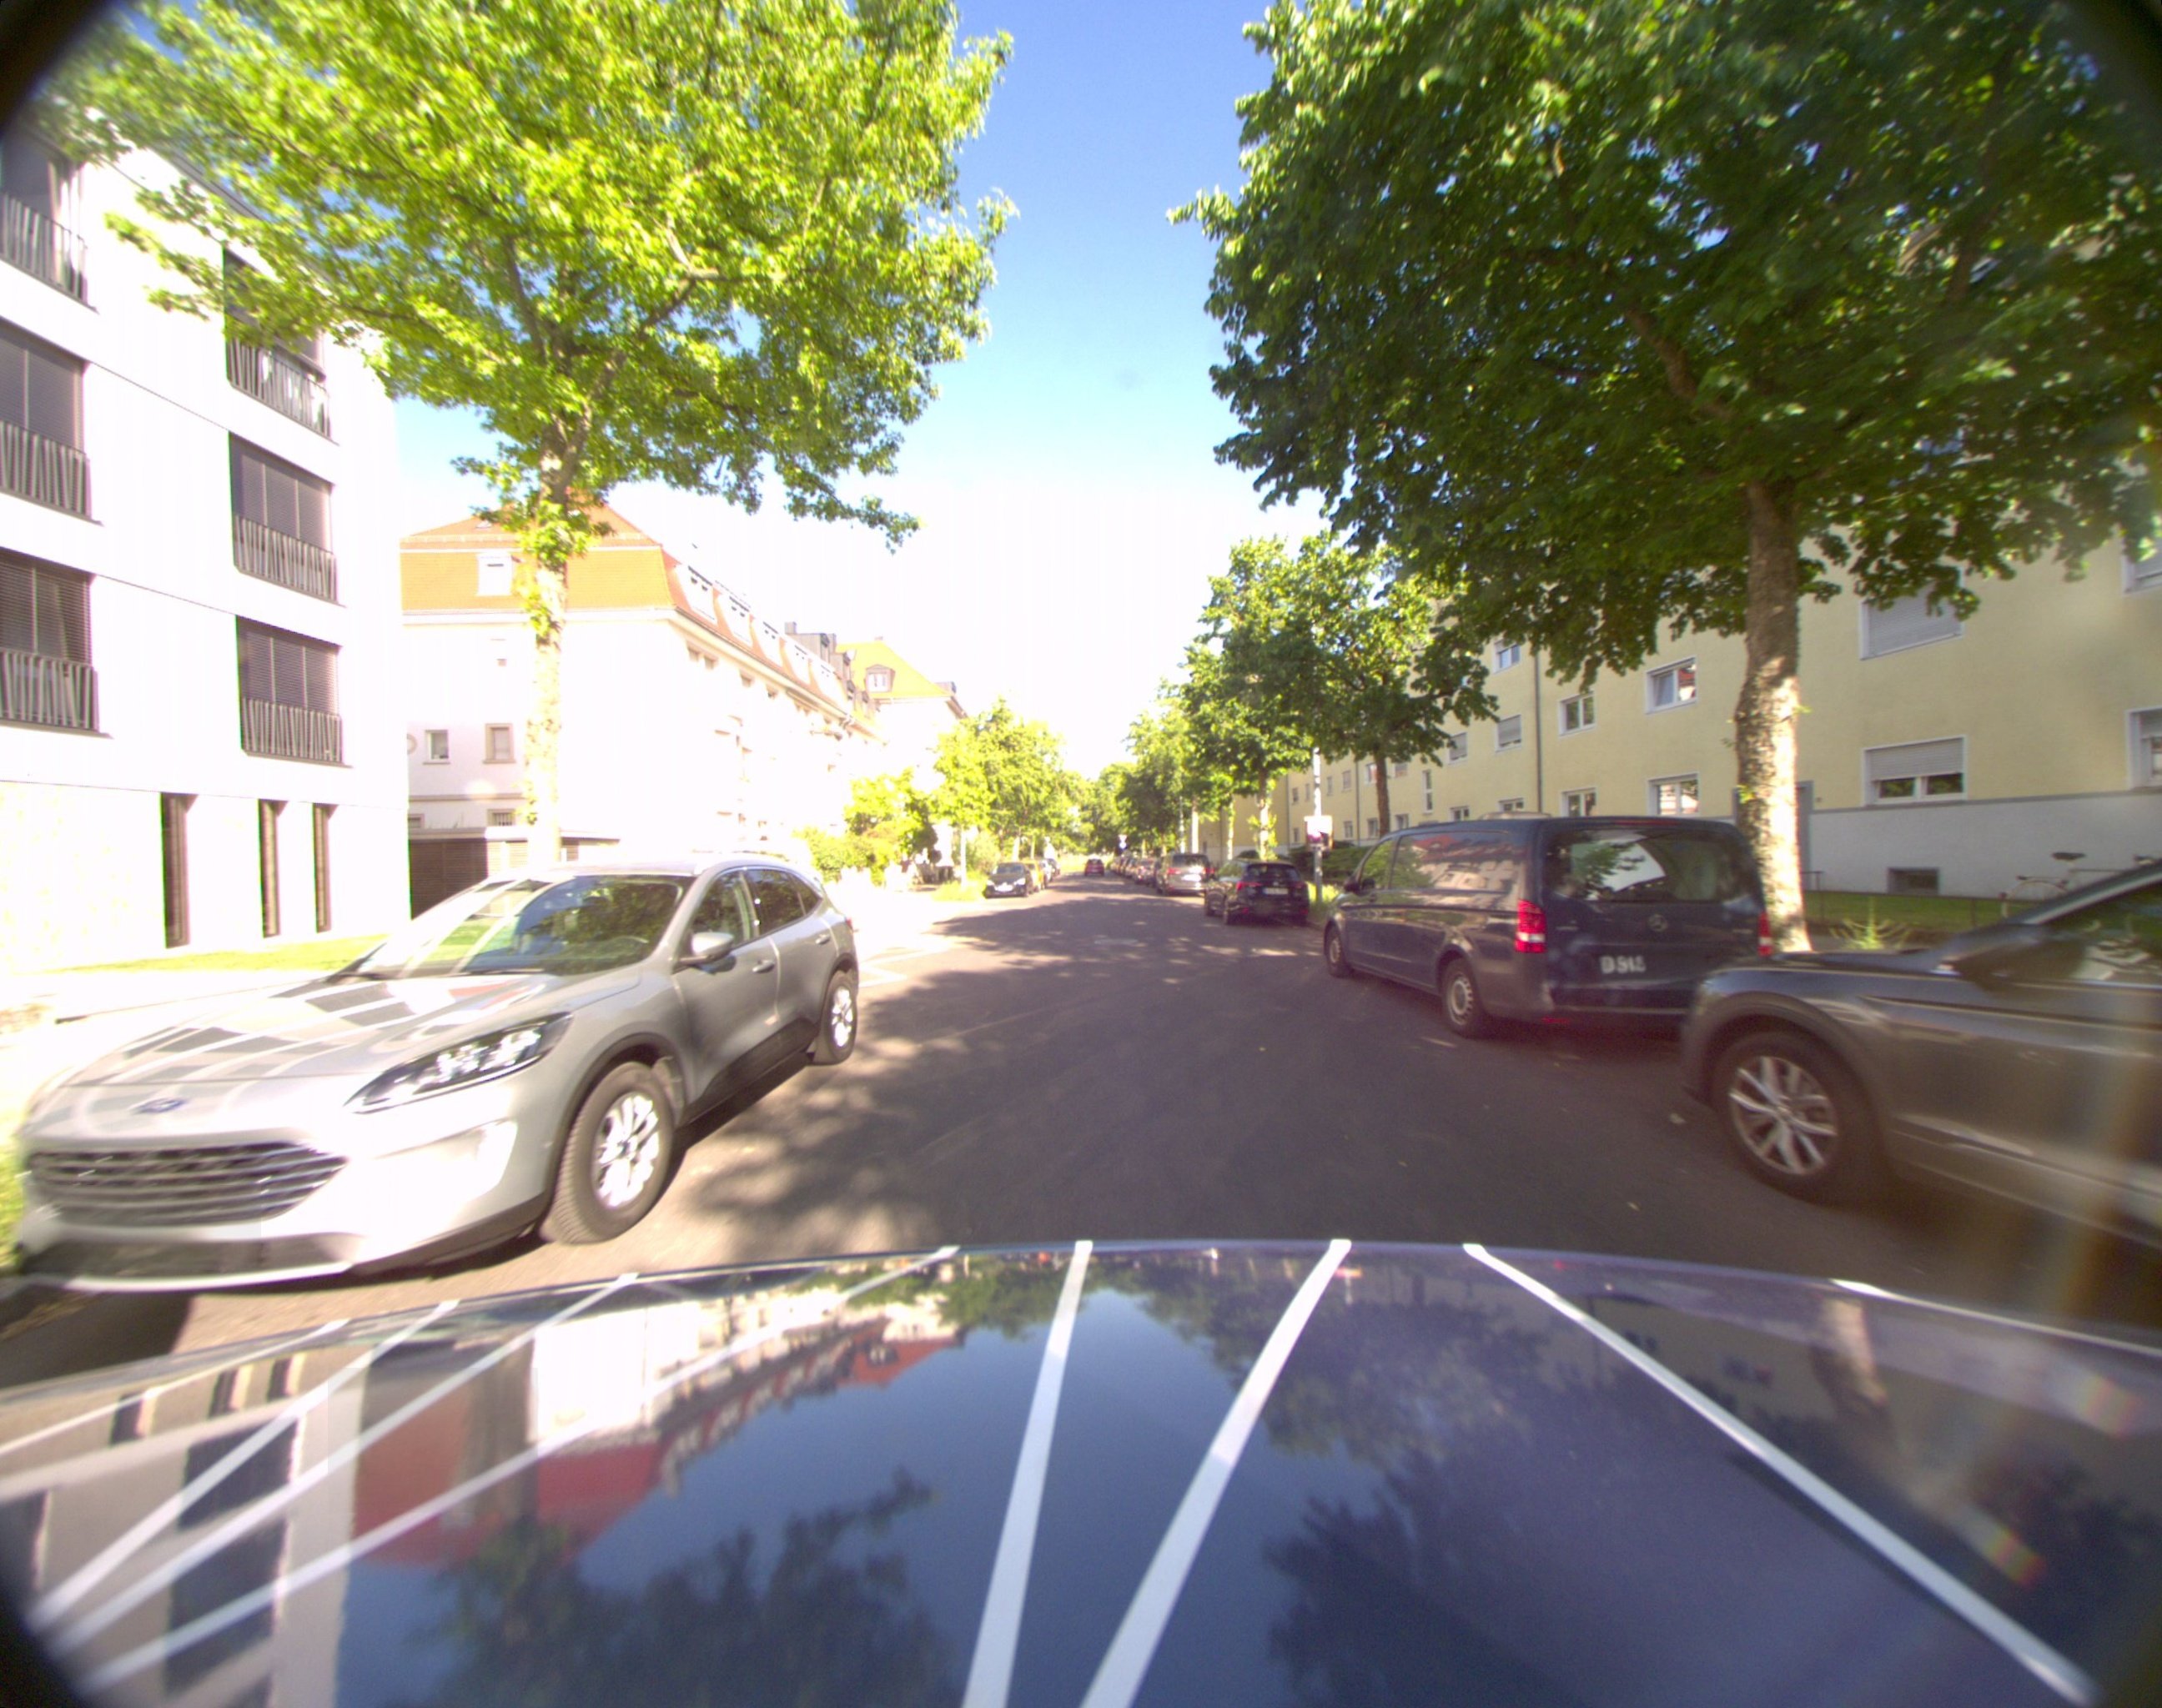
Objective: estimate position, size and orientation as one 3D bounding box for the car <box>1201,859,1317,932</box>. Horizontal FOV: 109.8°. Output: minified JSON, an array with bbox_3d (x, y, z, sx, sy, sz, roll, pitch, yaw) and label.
[{"bbox_3d":[4.065,0.883,17.999,1.780,1.462,4.063,1,0,0],"label":"car"}]

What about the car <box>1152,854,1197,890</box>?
[{"bbox_3d":[4.278,0.806,35.225,1.606,1.535,3.416,-1,0,0],"label":"car"}]

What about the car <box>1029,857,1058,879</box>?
[{"bbox_3d":[-2.533,0.922,51.716,1.670,1.456,3.536,-1,0,1],"label":"car"}]

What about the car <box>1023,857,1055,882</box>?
[{"bbox_3d":[-2.567,0.936,46.767,1.670,1.456,3.536,-1,0,1],"label":"car"}]

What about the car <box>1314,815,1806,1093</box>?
[{"bbox_3d":[3.950,0.663,7.512,1.798,1.839,4.866,-1,0,0],"label":"car"}]

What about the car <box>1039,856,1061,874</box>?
[{"bbox_3d":[-2.626,0.941,65.015,1.670,1.456,3.536,-1,0,1],"label":"car"}]

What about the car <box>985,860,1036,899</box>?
[{"bbox_3d":[-2.879,1.020,31.604,1.670,1.456,3.536,-1,0,1],"label":"car"}]

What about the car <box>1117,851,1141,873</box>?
[{"bbox_3d":[4.074,0.672,65.270,1.713,1.752,3.712,-1,1,-1],"label":"car"}]

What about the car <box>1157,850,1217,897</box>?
[{"bbox_3d":[4.060,0.715,29.777,1.864,1.718,4.000,0,0,1],"label":"car"}]

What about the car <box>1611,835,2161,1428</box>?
[{"bbox_3d":[3.951,0.774,1.987,1.798,1.676,4.525,-1,0,-3],"label":"car"}]

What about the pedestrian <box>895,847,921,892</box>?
[{"bbox_3d":[-7.878,0.709,34.655,0.907,2.002,1.006,-1,1,0],"label":"pedestrian"}]

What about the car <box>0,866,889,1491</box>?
[{"bbox_3d":[-2.831,0.973,4.566,1.902,1.638,4.862,-2,0,2],"label":"car"}]

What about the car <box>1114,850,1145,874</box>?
[{"bbox_3d":[3.830,0.615,60.369,1.891,1.797,3.913,-2,0,-4],"label":"car"}]

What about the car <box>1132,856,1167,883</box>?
[{"bbox_3d":[3.865,0.865,43.464,1.606,1.382,3.812,-1,0,0],"label":"car"}]

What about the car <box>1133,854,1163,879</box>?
[{"bbox_3d":[4.290,0.771,49.162,1.606,1.463,3.812,-1,0,0],"label":"car"}]

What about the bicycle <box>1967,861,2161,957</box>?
[{"bbox_3d":[10.772,0.545,8.019,0.596,0.911,1.903,-1,0,-1],"label":"bicycle"}]

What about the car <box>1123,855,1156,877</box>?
[{"bbox_3d":[4.188,0.811,54.924,1.805,1.470,3.999,-1,0,-3],"label":"car"}]

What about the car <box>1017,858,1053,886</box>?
[{"bbox_3d":[-2.479,0.949,41.860,1.670,1.456,3.674,-1,0,1],"label":"car"}]

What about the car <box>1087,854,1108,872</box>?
[{"bbox_3d":[1.403,0.706,63.406,1.665,1.456,3.447,-1,0,1],"label":"car"}]

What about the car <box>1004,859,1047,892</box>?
[{"bbox_3d":[-2.615,1.009,36.384,1.670,1.456,3.536,-1,0,1],"label":"car"}]

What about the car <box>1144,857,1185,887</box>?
[{"bbox_3d":[4.229,0.872,38.979,1.606,1.382,3.812,-1,0,0],"label":"car"}]
